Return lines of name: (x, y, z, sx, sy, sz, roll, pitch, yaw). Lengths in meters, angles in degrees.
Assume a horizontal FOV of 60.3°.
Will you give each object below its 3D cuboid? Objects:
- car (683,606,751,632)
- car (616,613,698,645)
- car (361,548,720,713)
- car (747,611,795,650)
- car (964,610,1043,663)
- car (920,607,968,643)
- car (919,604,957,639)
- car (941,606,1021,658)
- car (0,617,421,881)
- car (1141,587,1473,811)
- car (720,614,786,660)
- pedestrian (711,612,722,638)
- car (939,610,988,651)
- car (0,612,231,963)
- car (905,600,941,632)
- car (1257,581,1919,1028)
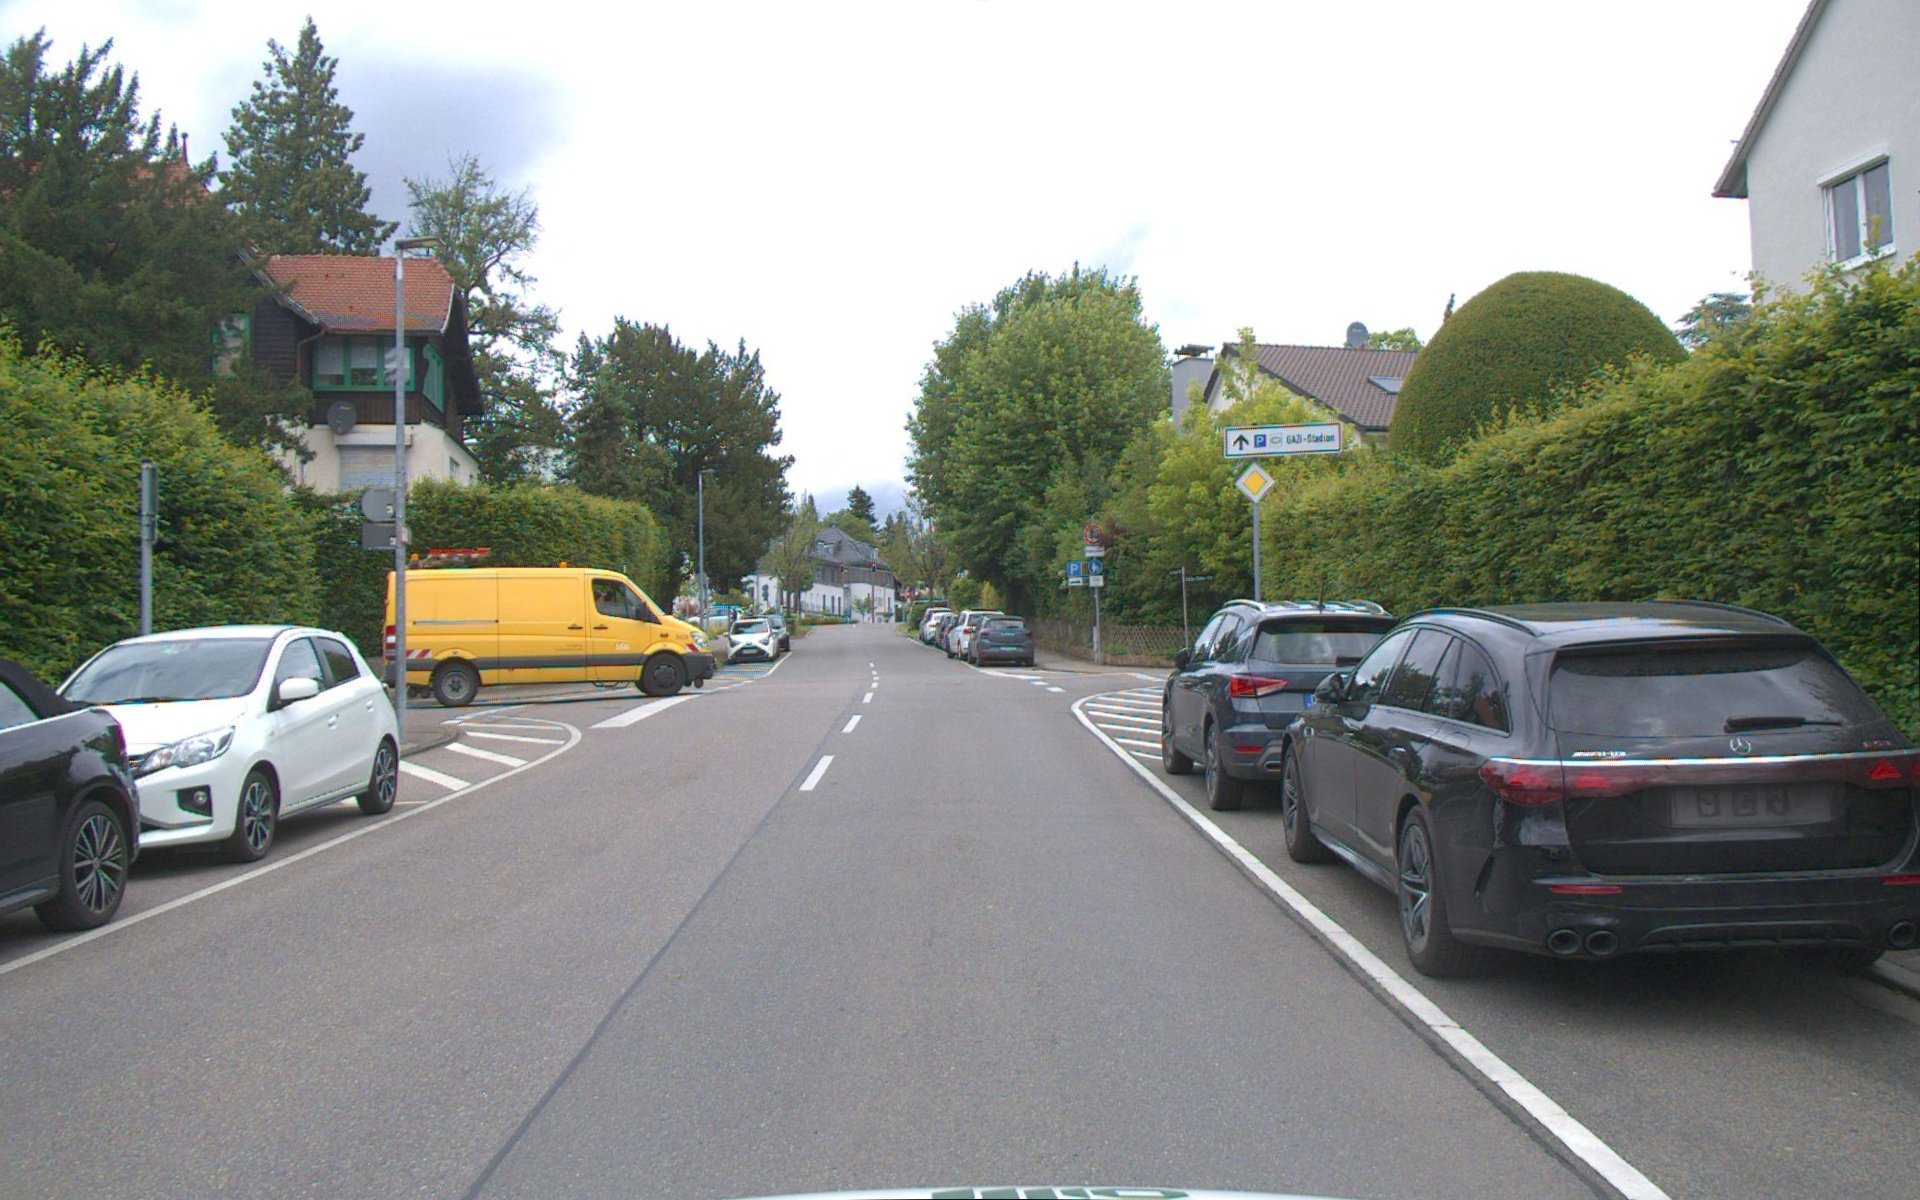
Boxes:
car: (-16.080, 1.248, 109.576, 4.302, 1.594, 2.064, -2, 0, -6)
car: (-14.172, 1.358, 77.454, 3.725, 1.378, 1.737, -1, 0, -10)
car: (-7.584, 0.480, 29.899, 6.035, 2.647, 2.354, -2, 0, -21)
car: (-7.817, 1.252, 68.658, 1.814, 1.495, 4.677, -2, 0, -5)
car: (1.308, 1.097, 51.535, 1.900, 1.517, 4.451, -2, 0, -5)
car: (-0.757, 1.145, 76.799, 1.954, 1.517, 5.001, -2, 0, -3)
car: (-1.109, 1.068, 82.730, 1.683, 1.661, 3.925, 1, 0, -4)
car: (0.653, 1.040, 56.439, 1.964, 1.637, 4.749, -2, 0, -9)
car: (-5.226, 0.914, 11.591, 1.655, 1.444, 3.579, -4, 0, 0)
car: (2.681, 0.692, 13.822, 1.753, 1.514, 4.378, -2, 0, -1)
car: (-7.027, 1.234, 56.515, 1.708, 1.473, 3.514, -1, 0, 1)
pedestrian: (-15.381, 1.573, 104.622, 0.581, 1.669, 0.565, -2, 0, -3)
car: (0.108, 1.196, 66.063, 1.664, 1.535, 4.156, 1, 0, -4)
car: (-5.064, 0.880, 7.087, 1.746, 1.515, 4.738, -5, 0, -1)
car: (-2.238, 0.958, 99.347, 1.898, 1.870, 5.214, -1, 0, -4)
car: (2.869, 0.708, 8.394, 1.883, 1.520, 5.209, -2, 0, 1)
